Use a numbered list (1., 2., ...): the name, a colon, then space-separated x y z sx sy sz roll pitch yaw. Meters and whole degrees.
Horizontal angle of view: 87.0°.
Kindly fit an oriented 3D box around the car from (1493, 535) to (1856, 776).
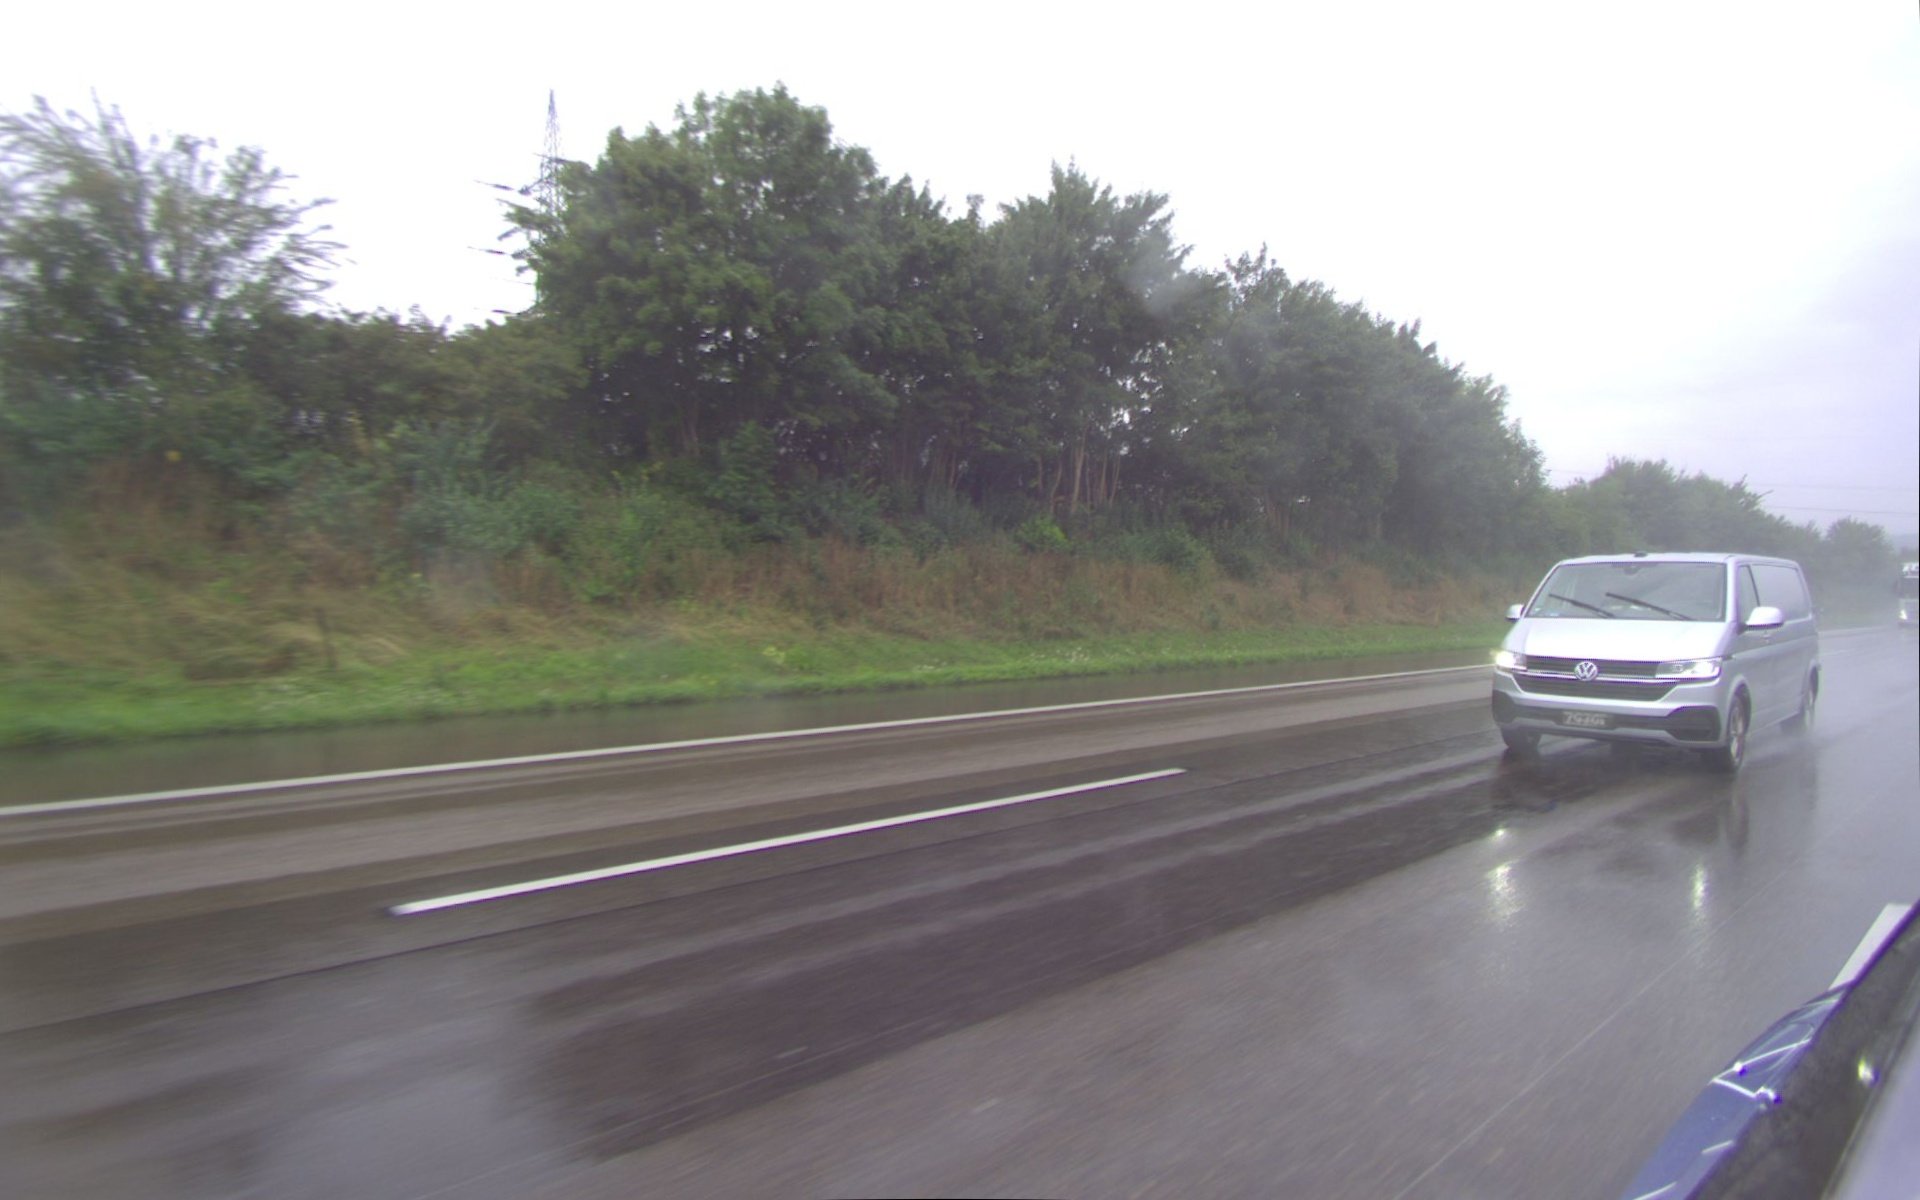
1. car: 7.458 0.421 10.339 4.921 1.907 1.891 0 1 -41

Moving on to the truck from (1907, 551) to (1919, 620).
1. truck: 60.283 -0.846 62.129 5.146 4.139 2.617 0 1 -41

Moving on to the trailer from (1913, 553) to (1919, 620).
1. trailer: 65.664 -0.825 66.793 13.548 4.139 2.617 0 1 -41
